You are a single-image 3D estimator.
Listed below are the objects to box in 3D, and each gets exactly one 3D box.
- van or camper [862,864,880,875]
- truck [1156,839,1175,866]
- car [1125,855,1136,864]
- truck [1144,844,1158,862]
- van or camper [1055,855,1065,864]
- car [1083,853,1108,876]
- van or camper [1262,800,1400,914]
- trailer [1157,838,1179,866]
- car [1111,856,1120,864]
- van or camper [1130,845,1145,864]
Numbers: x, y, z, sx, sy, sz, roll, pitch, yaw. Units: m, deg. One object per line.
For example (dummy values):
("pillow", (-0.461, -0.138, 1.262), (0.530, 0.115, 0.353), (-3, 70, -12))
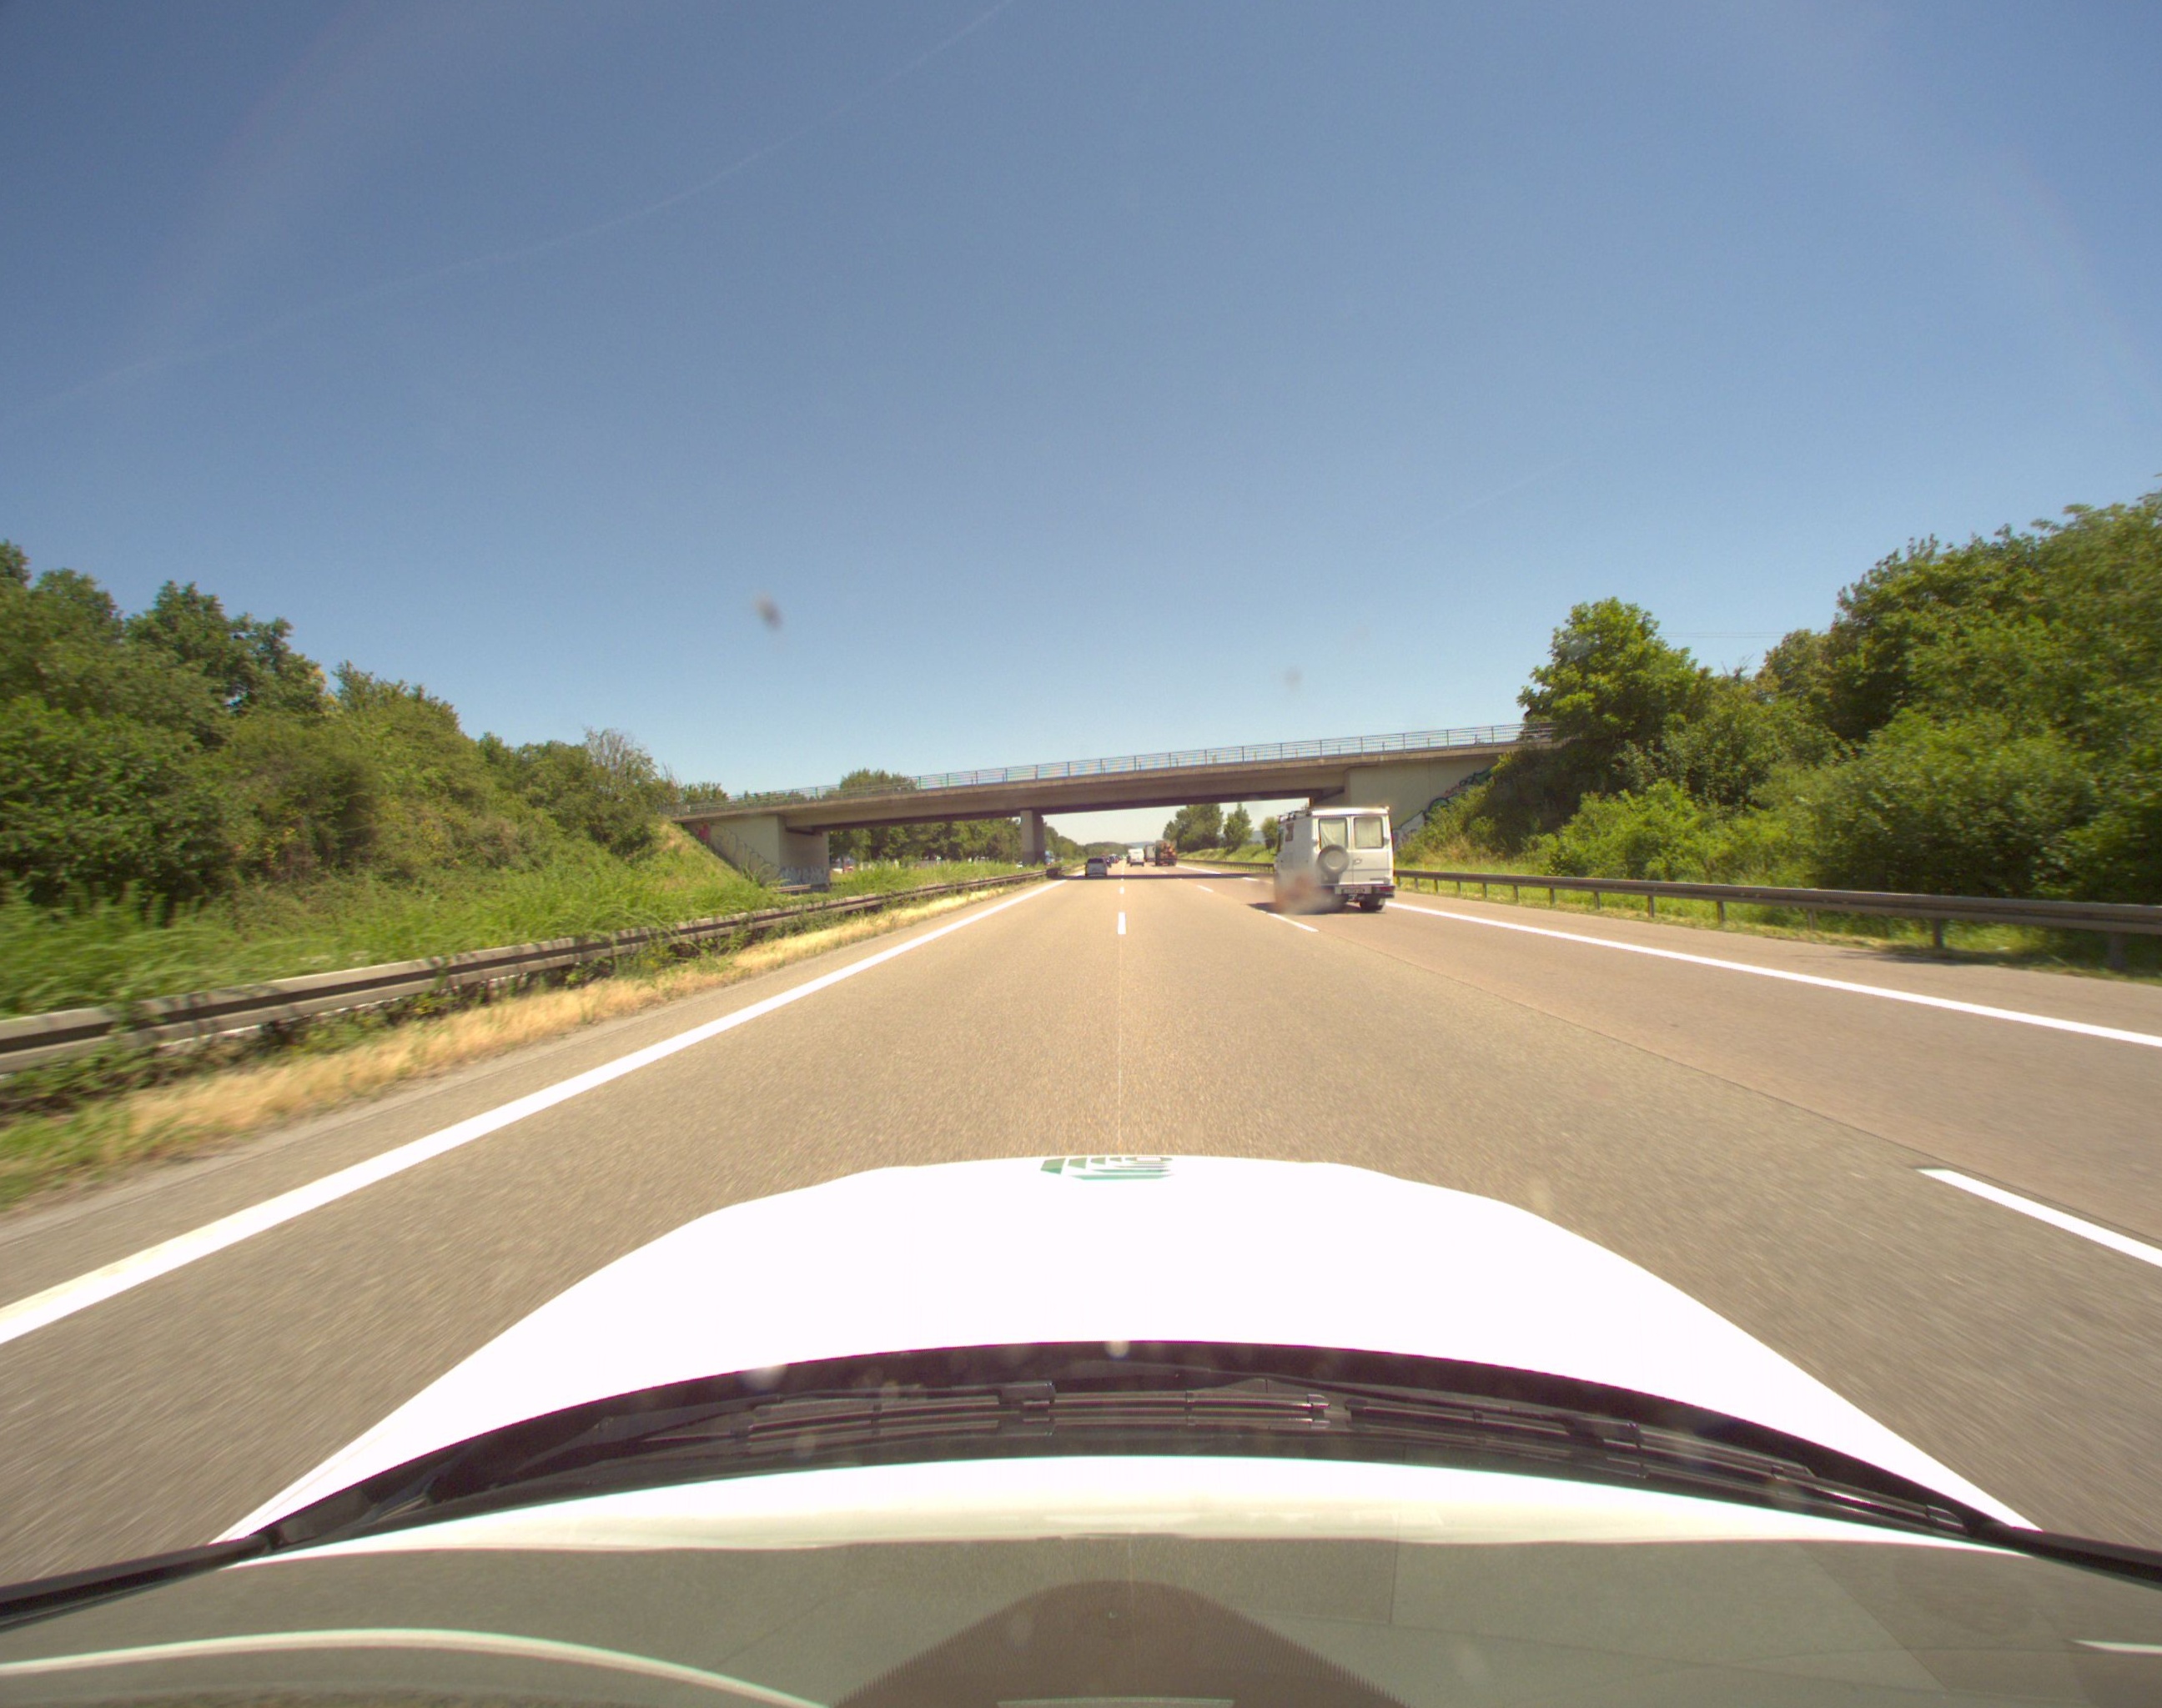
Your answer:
("van or camper", (-53.193, 3.924, 206.623), (2.348, 2.552, 7.728), (-3, -1, 2))
("truck", (13.146, -0.244, 127.026), (2.658, 3.994, 6.642), (-1, 0, 3))
("car", (9.358, 1.050, 153.426), (1.850, 1.652, 4.002), (-1, -1, 2))
("truck", (16.837, -0.154, 197.201), (3.065, 4.209, 16.861), (0, 0, 4))
("van or camper", (-4.835, 1.261, 186.607), (1.986, 1.869, 4.458), (-4, -1, 2))
("car", (1.139, 0.806, 62.395), (1.850, 1.652, 4.002), (0, 0, 2))
("van or camper", (6.732, 0.101, 22.802), (2.105, 2.703, 6.371), (-1, -1, 2))
("trailer", (12.702, -0.256, 120.021), (2.641, 3.958, 13.648), (-1, 0, 4))
("car", (7.040, 1.253, 165.398), (1.850, 1.652, 4.002), (-1, -1, 2))
("van or camper", (8.190, 0.121, 117.927), (2.049, 2.622, 5.990), (-1, -1, 3))
